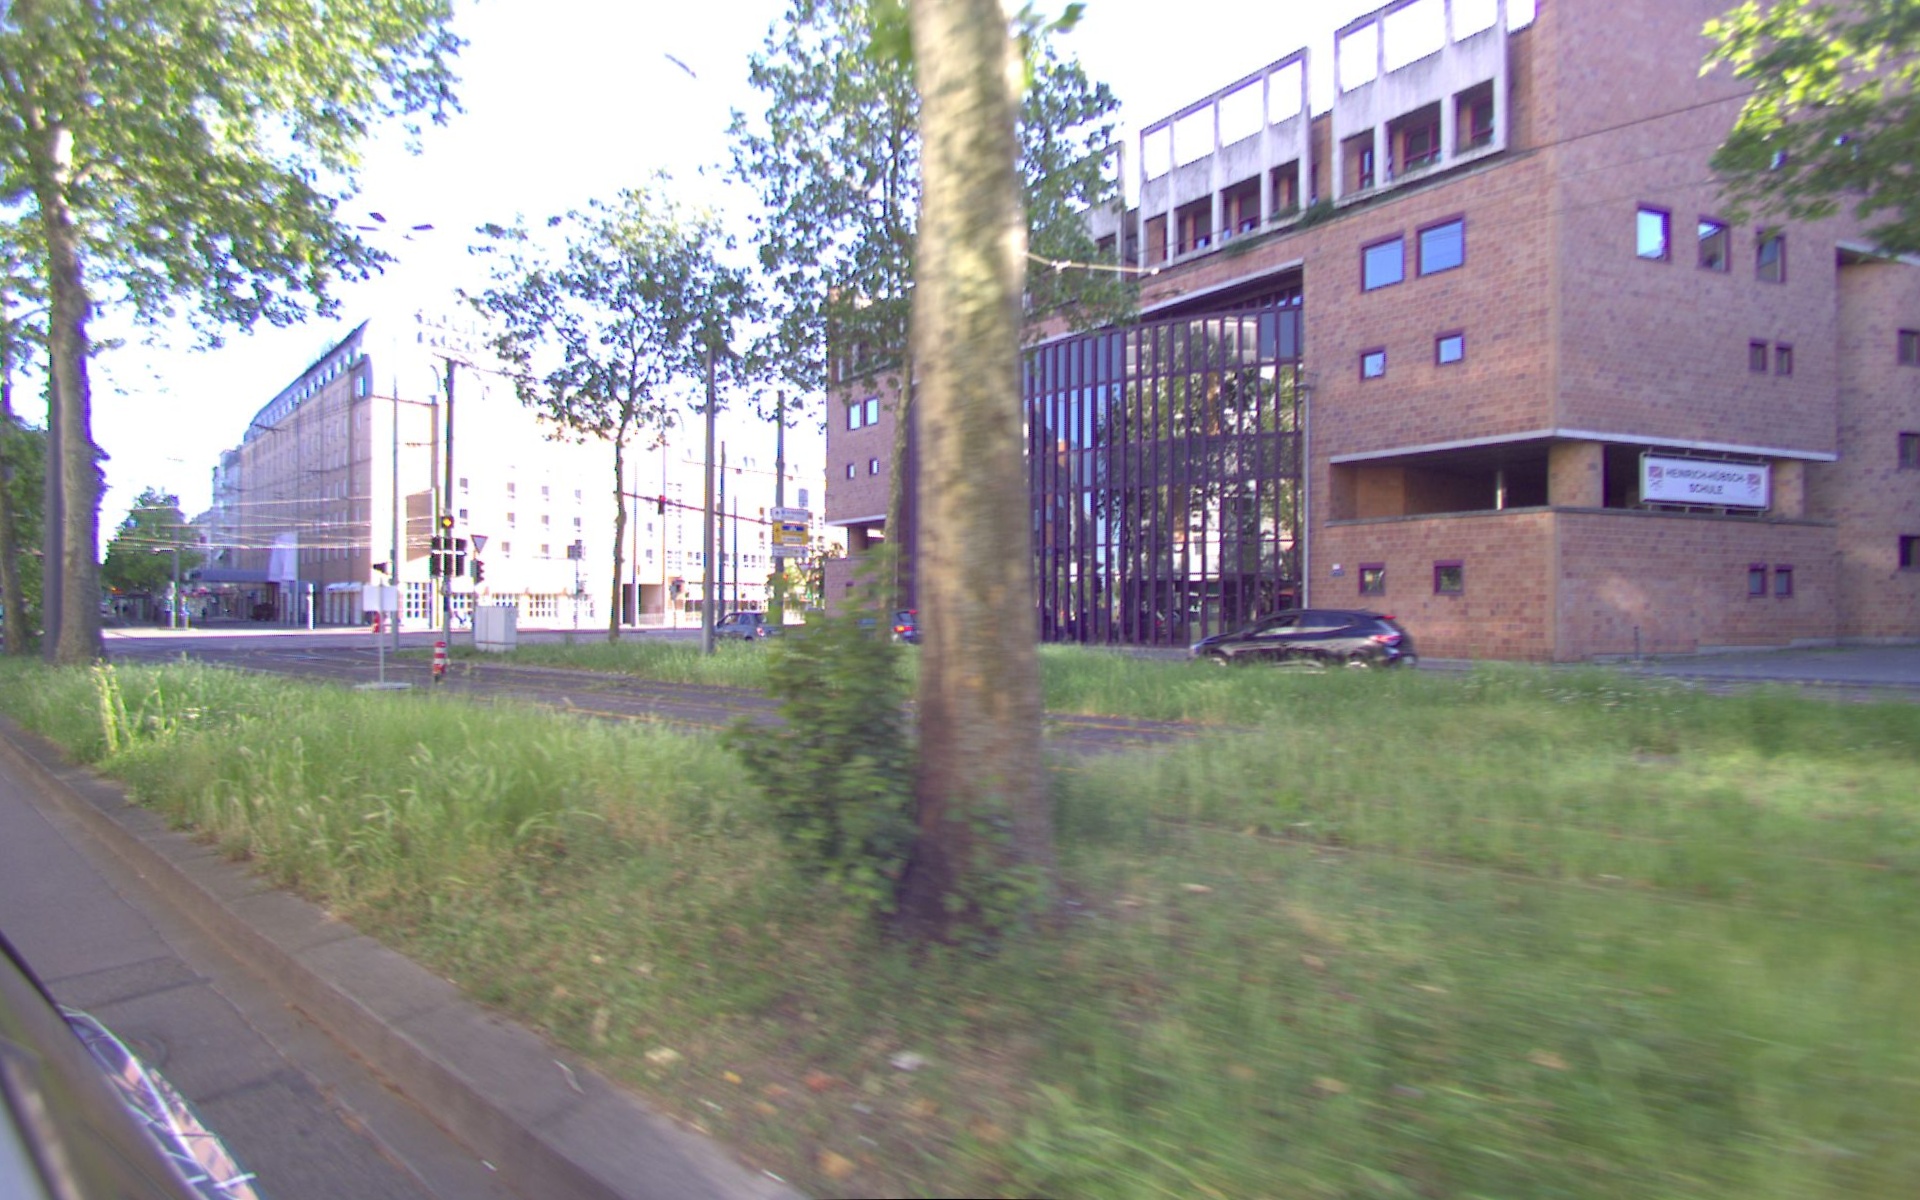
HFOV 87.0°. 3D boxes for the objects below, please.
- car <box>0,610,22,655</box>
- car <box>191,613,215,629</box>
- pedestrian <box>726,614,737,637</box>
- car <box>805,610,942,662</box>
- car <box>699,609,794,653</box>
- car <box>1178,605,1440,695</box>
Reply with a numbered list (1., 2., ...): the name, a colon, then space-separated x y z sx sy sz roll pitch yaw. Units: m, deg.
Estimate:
1. car: -35.923 1.179 36.376 1.965 1.648 4.467 0 0 -25
2. car: -84.877 2.339 113.431 1.680 1.663 4.002 0 -1 -45
3. pedestrian: -15.088 1.699 66.829 0.558 1.516 0.513 0 -2 -26
4. car: -2.623 1.027 30.096 4.148 1.440 1.653 -1 -1 41
5. car: -7.330 1.019 34.658 3.220 1.440 1.596 -1 -1 41
6. car: 6.161 0.819 18.151 4.148 1.440 1.596 -1 -1 41
